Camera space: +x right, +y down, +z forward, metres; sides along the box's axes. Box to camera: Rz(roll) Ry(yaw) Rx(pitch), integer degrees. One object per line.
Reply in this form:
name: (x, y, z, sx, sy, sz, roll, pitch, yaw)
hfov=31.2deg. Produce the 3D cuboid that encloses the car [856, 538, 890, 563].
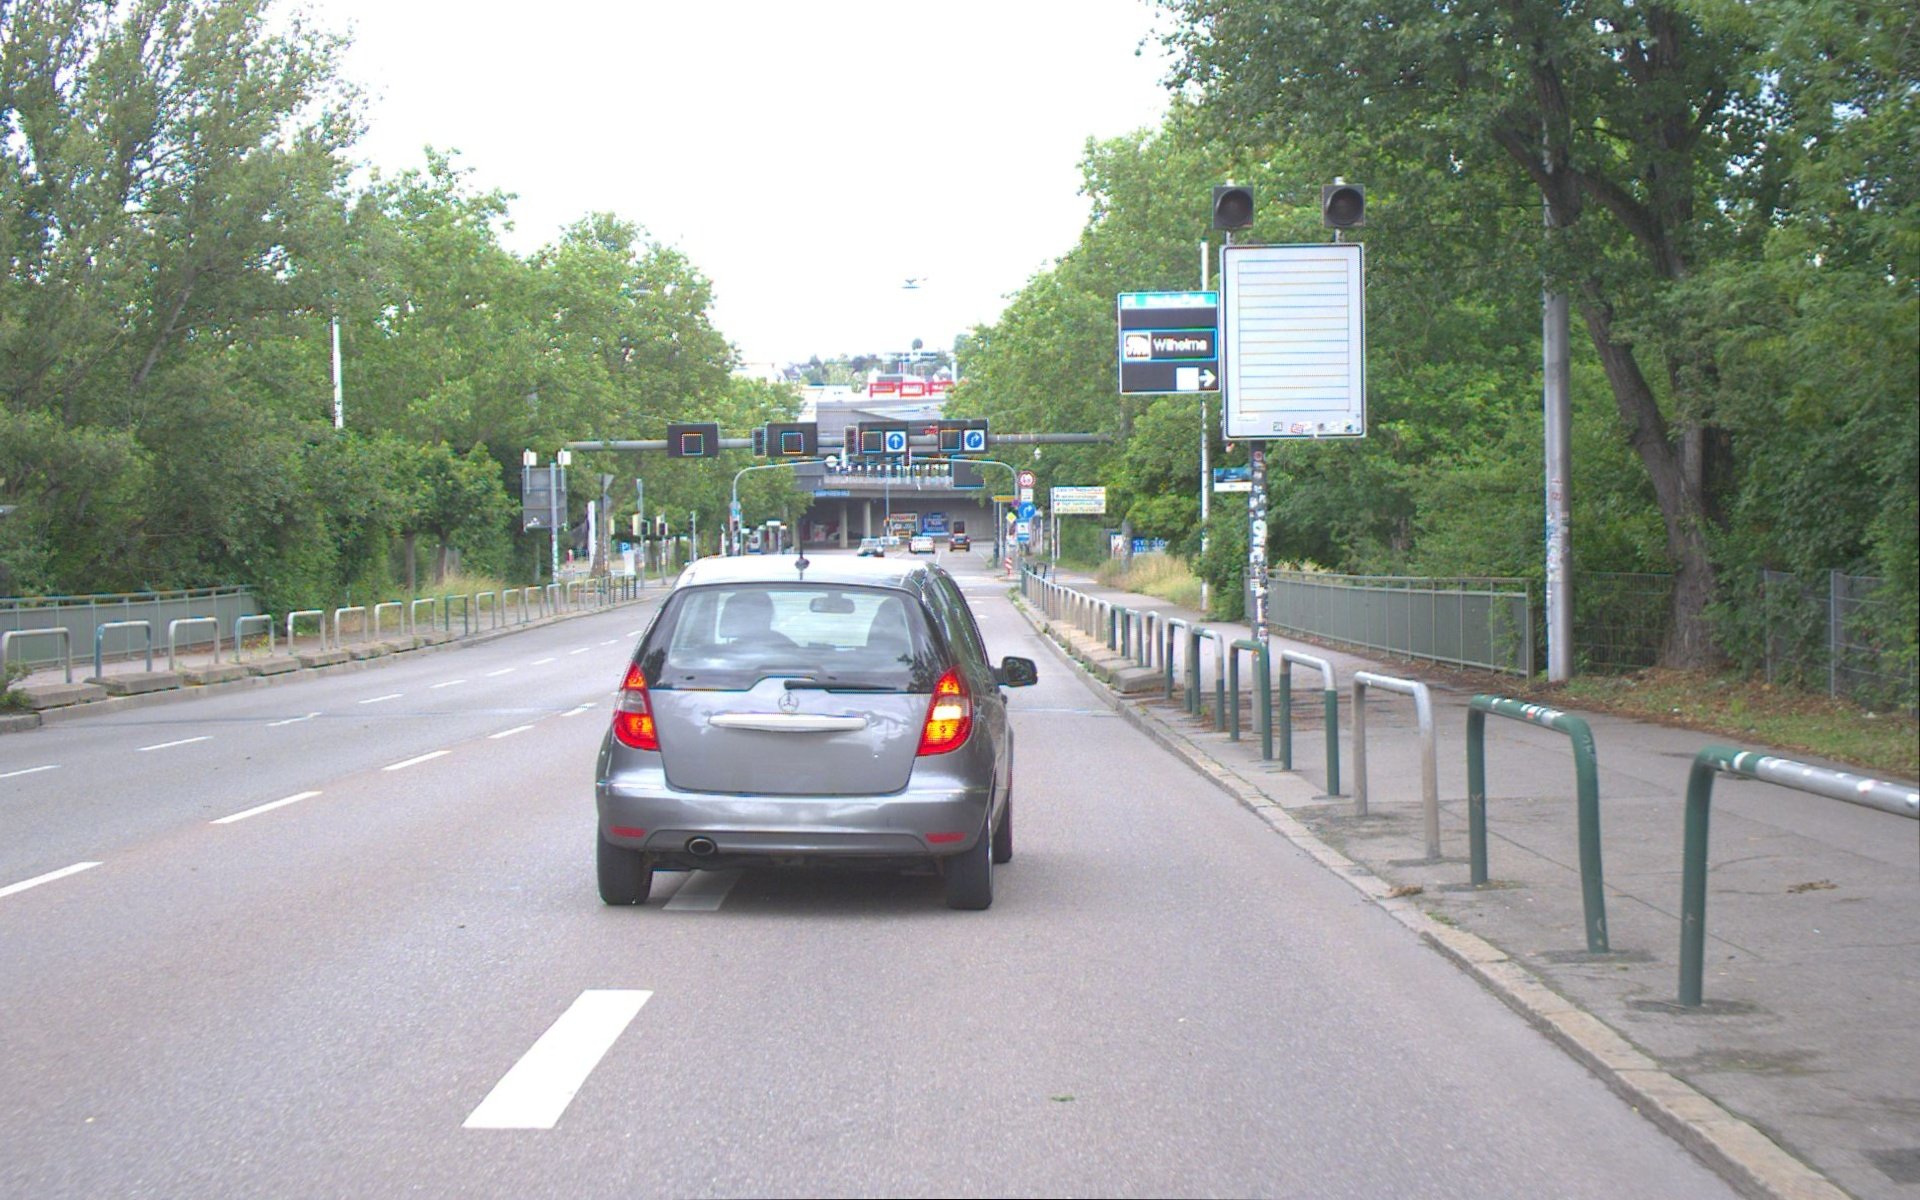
car: (-6.179, -3.506, 243.509, 1.994, 1.654, 4.517, -2, 1, 3)

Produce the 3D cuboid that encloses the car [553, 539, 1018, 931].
car: (-0.695, 0.551, 16.341, 1.826, 1.611, 4.034, 1, 0, 2)
